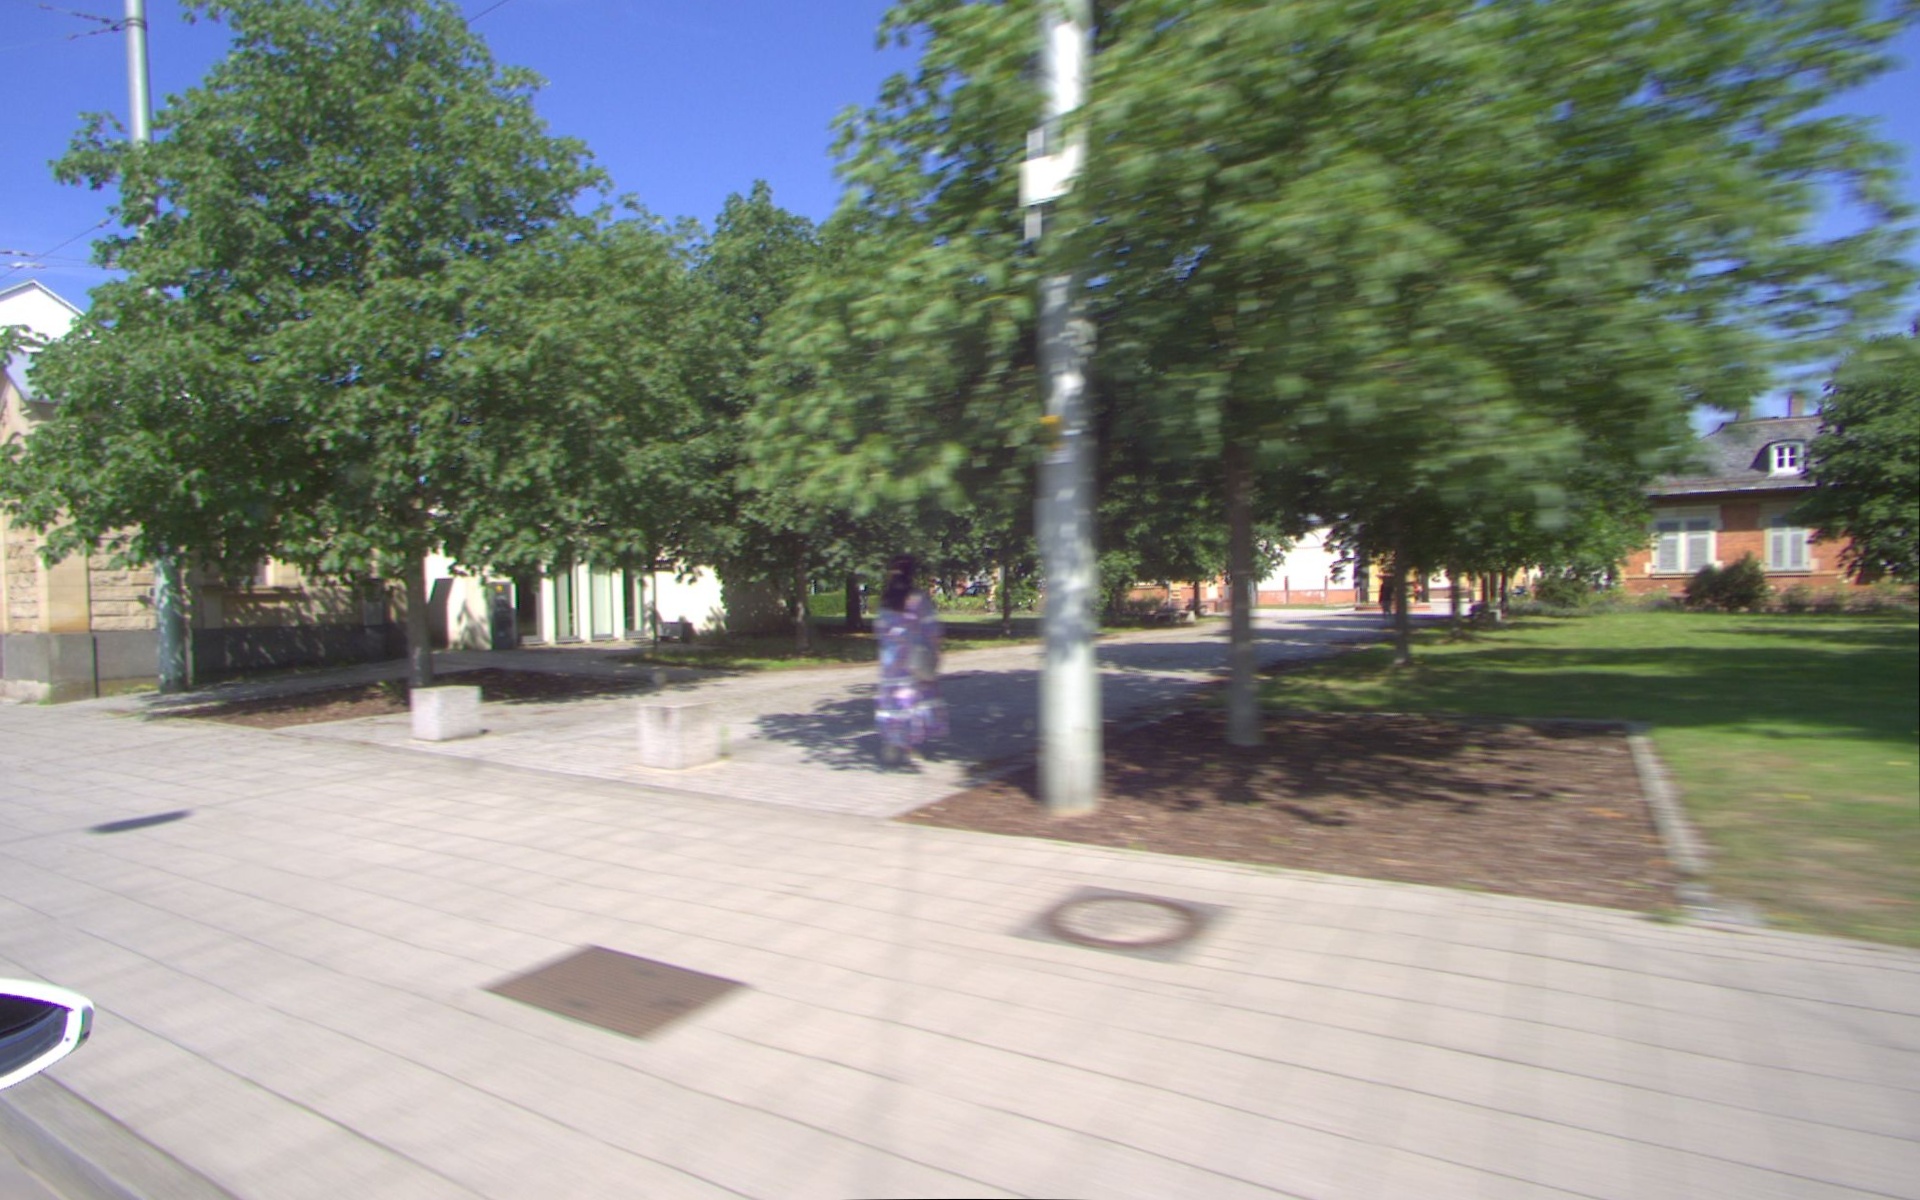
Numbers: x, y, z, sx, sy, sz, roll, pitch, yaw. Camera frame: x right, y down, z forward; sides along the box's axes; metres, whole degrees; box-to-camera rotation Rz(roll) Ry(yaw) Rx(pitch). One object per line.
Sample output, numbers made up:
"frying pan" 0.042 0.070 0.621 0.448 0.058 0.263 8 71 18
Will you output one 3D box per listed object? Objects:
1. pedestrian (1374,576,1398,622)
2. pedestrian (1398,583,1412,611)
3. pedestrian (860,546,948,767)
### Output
"pedestrian" 15.085 -0.030 35.465 0.679 1.622 0.863 0 2 31
"pedestrian" 25.847 -0.184 58.194 0.734 1.622 0.619 0 2 26
"pedestrian" -0.439 0.439 8.117 0.639 1.705 0.707 -1 1 1
